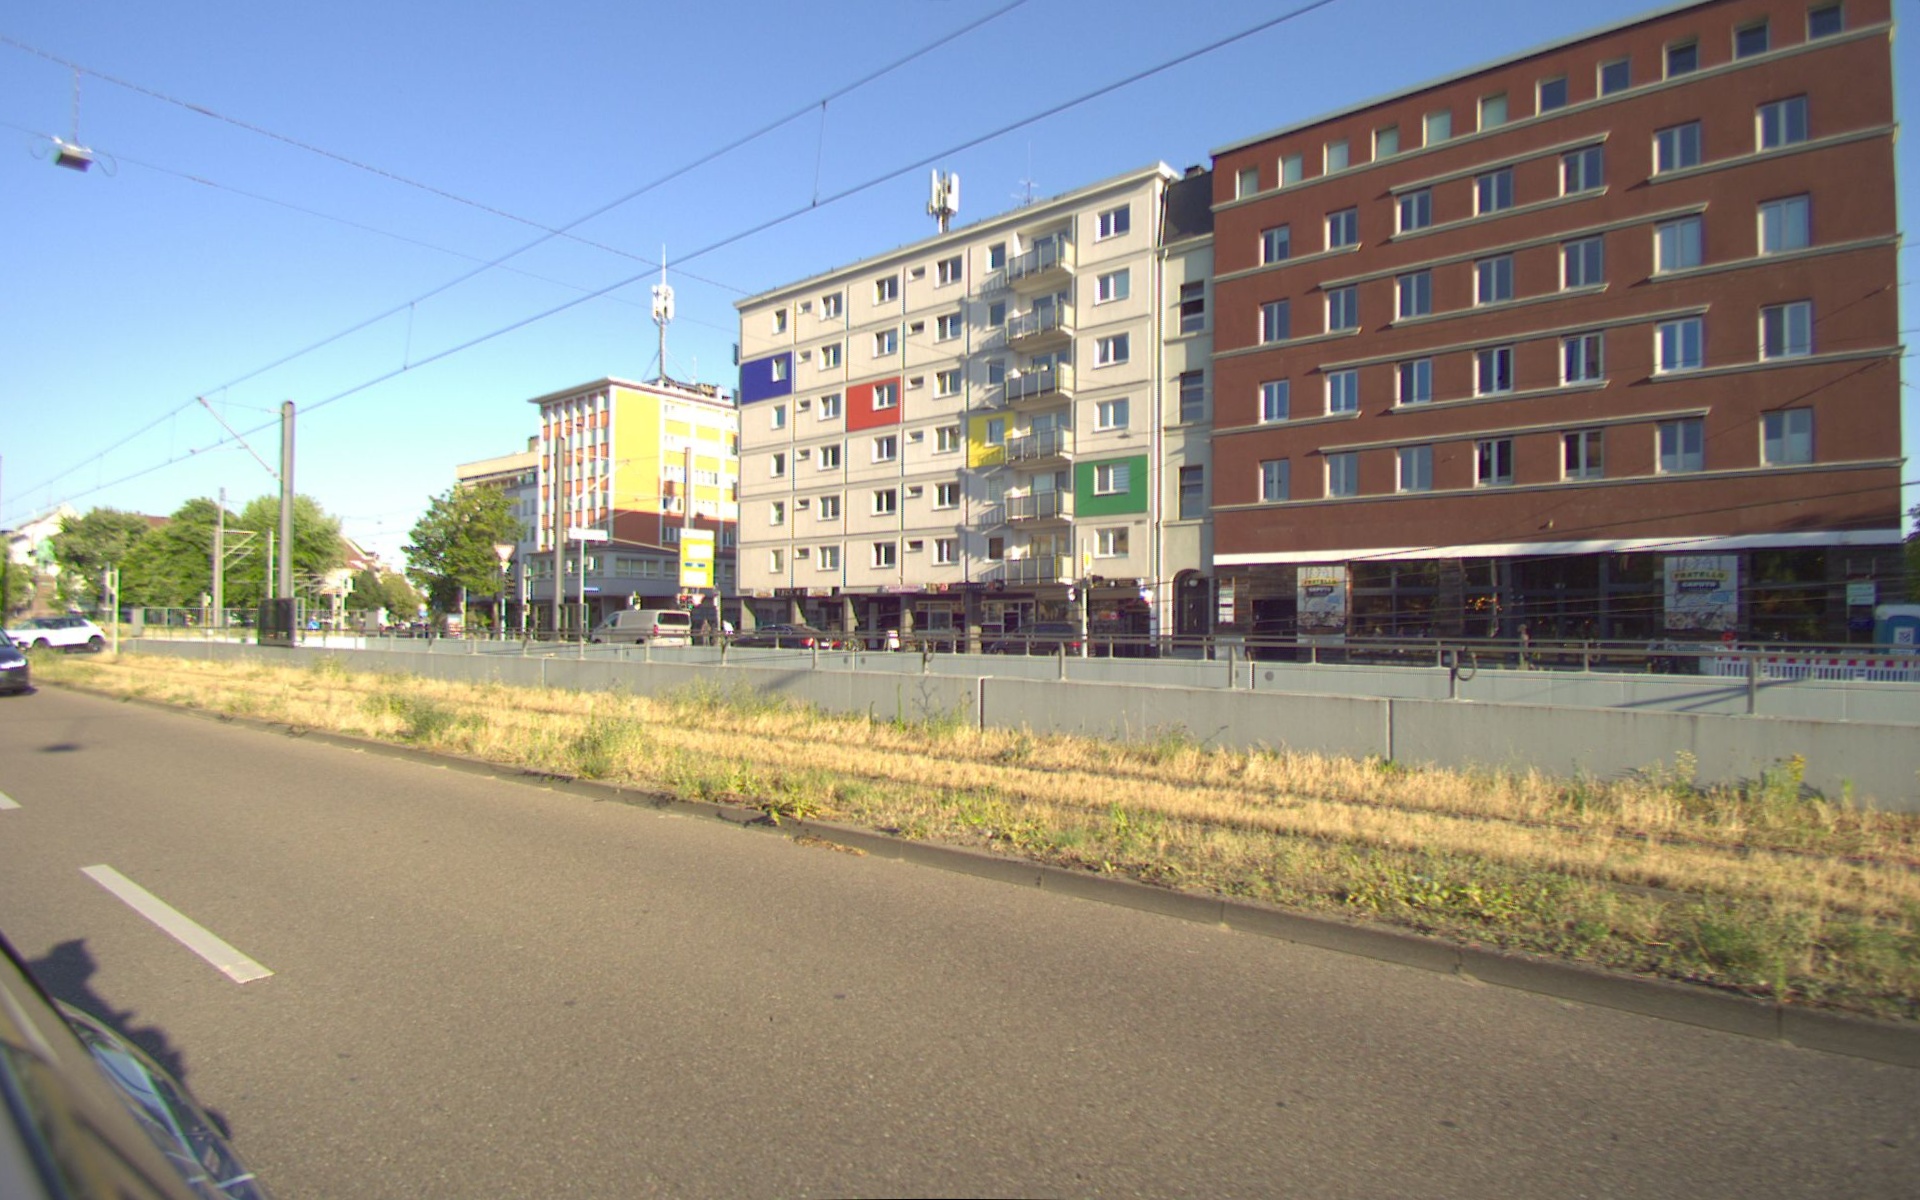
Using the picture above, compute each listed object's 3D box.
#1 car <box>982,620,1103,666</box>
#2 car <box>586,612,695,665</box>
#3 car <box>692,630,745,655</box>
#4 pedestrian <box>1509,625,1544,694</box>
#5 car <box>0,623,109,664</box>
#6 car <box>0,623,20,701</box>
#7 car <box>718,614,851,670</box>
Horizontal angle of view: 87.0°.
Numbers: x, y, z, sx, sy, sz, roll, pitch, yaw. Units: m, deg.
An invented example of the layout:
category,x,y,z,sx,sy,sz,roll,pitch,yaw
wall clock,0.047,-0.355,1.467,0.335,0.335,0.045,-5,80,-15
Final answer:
category,x,y,z,sx,sy,sz,roll,pitch,yaw
car,3.326,1.731,41.591,4.740,1.811,1.973,-1,-2,41
car,-13.072,1.538,41.311,4.770,2.029,1.974,-1,-2,39
car,-19.378,3.401,81.299,1.741,1.794,3.947,0,0,40
pedestrian,16.993,1.783,30.372,0.772,2.029,0.691,-2,-3,41
car,-37.455,1.720,41.273,1.810,1.549,4.275,0,-1,2
car,-19.717,1.192,19.684,4.244,1.437,1.746,-2,-1,42
car,-6.199,1.437,35.435,4.893,1.811,1.972,-1,-2,42
